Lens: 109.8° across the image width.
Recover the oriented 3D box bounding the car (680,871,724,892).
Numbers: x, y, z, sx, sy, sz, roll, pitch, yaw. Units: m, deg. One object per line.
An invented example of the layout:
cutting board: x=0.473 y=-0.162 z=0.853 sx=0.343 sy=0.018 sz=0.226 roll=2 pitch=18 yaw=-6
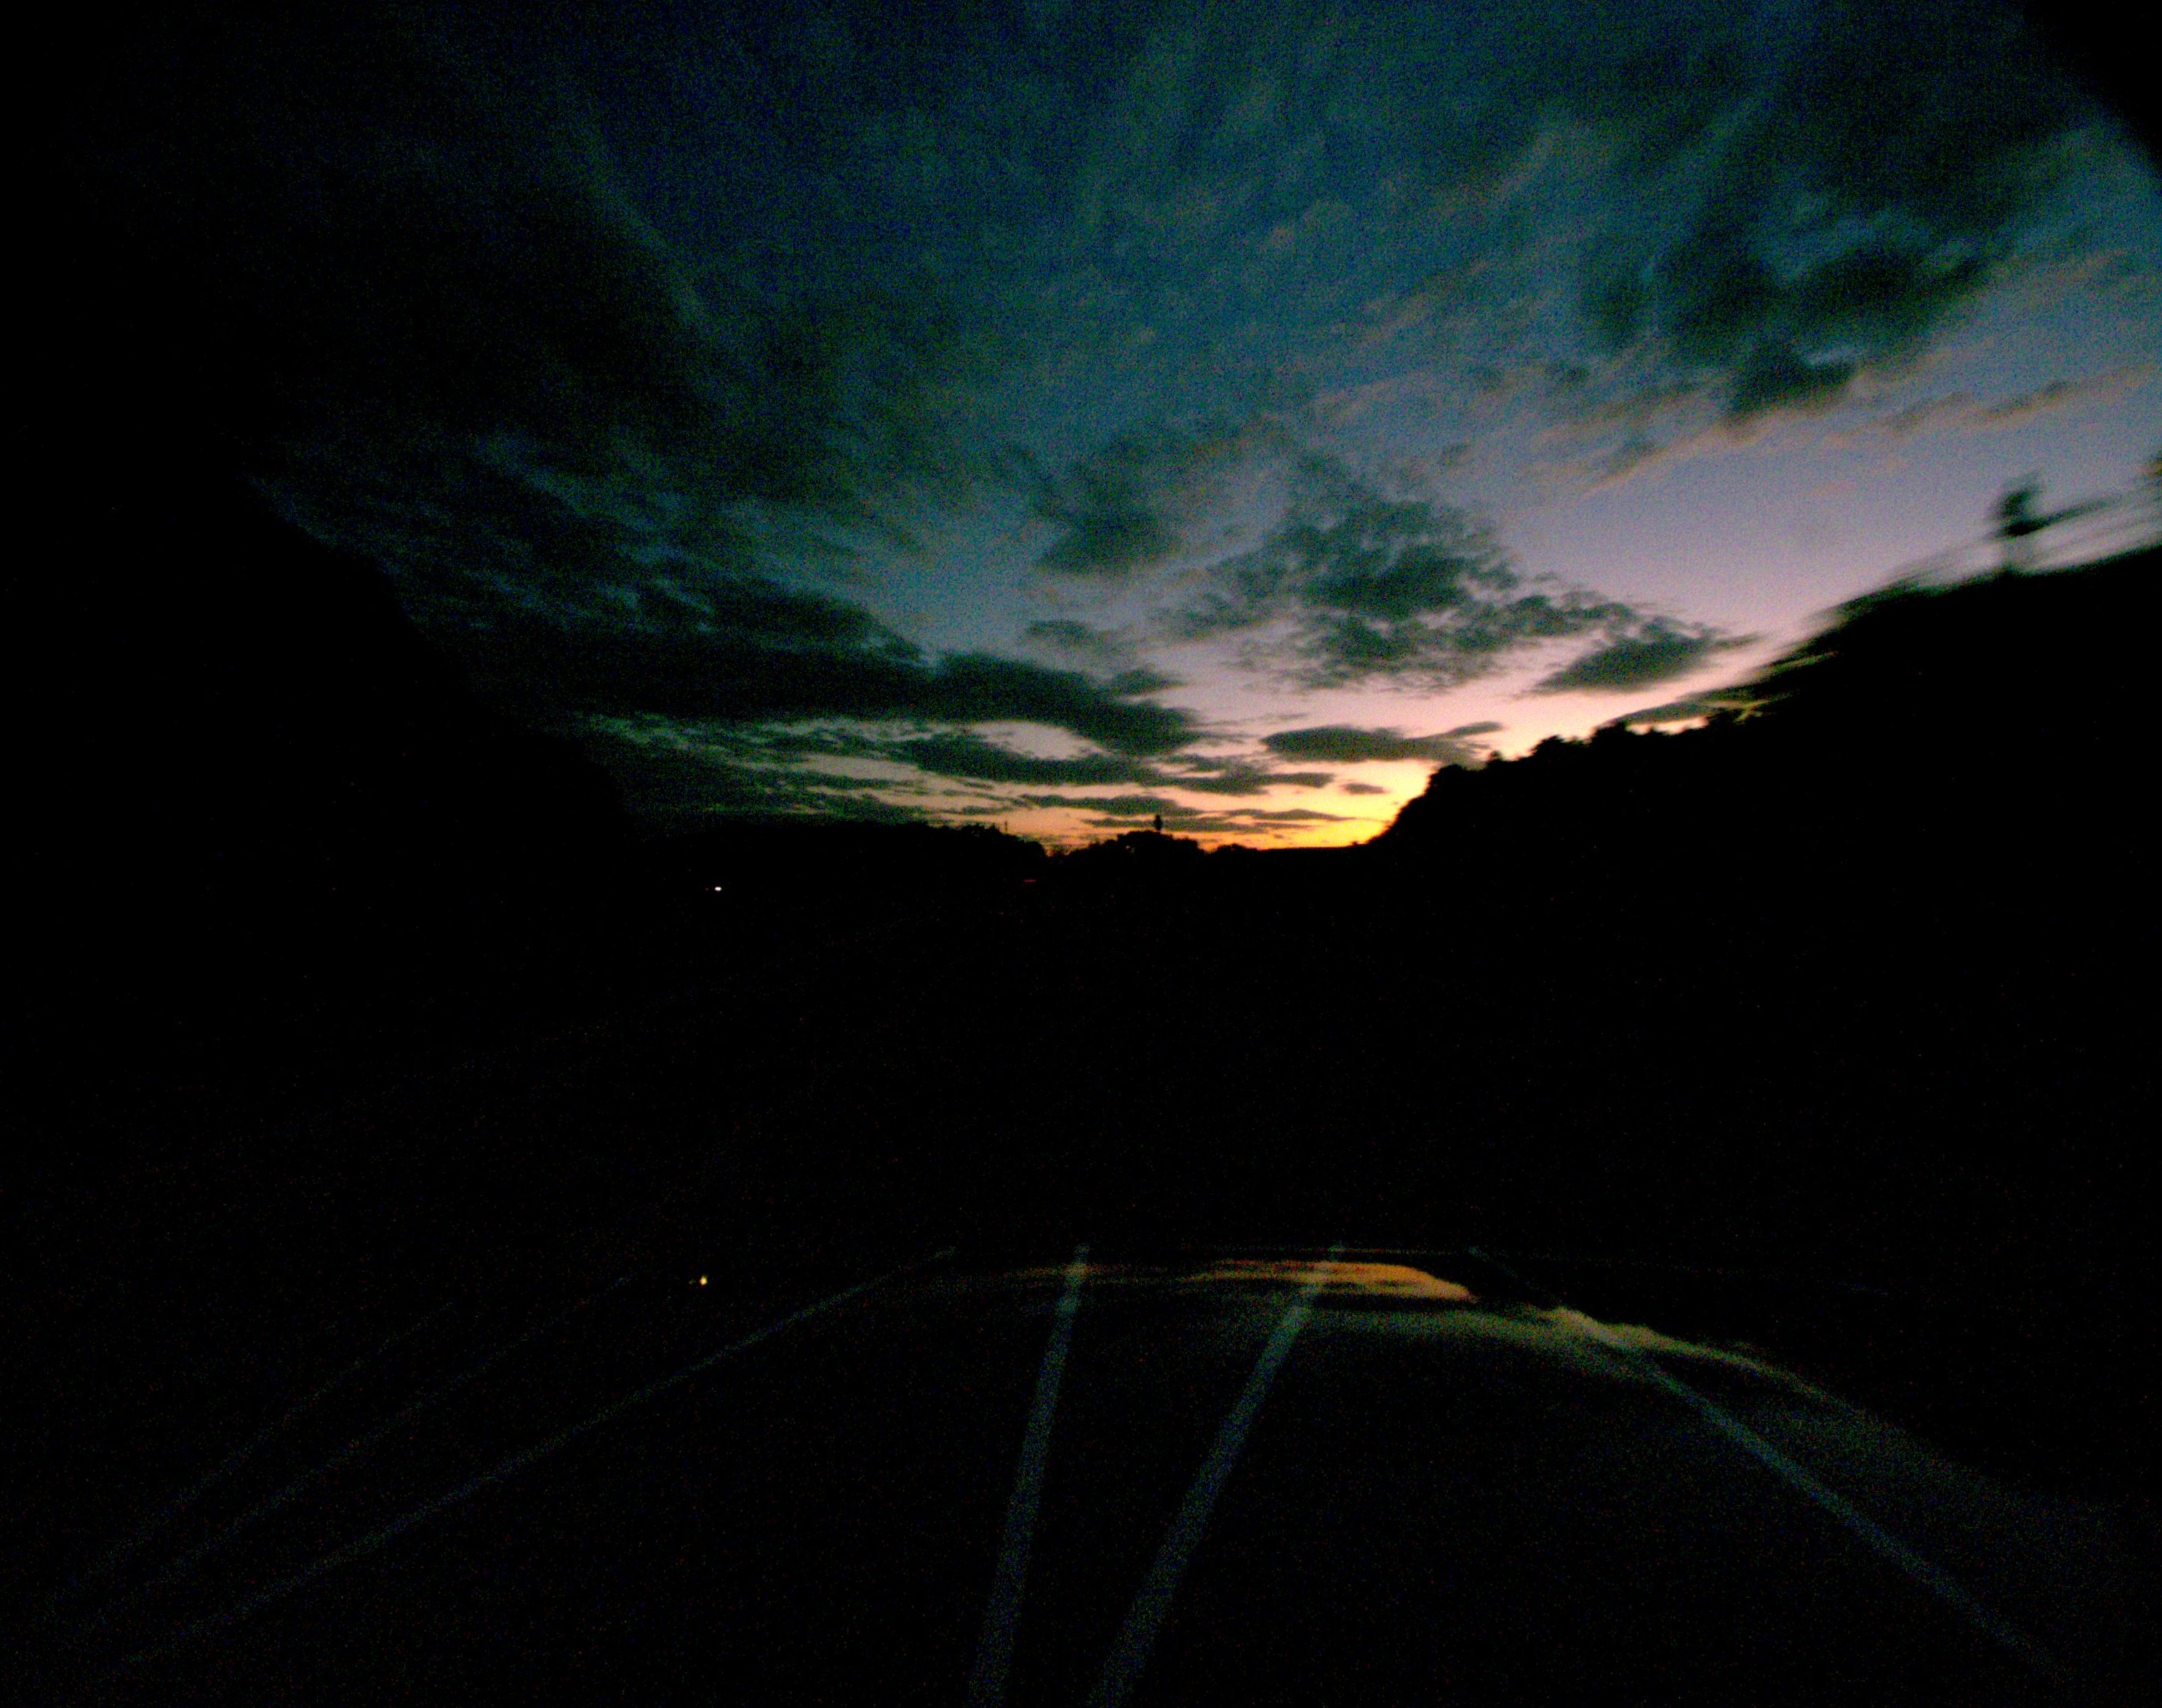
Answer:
car: x=-50.365 y=3.647 z=100.977 sx=6.480 sy=2.514 sz=2.269 roll=-2 pitch=1 yaw=35
